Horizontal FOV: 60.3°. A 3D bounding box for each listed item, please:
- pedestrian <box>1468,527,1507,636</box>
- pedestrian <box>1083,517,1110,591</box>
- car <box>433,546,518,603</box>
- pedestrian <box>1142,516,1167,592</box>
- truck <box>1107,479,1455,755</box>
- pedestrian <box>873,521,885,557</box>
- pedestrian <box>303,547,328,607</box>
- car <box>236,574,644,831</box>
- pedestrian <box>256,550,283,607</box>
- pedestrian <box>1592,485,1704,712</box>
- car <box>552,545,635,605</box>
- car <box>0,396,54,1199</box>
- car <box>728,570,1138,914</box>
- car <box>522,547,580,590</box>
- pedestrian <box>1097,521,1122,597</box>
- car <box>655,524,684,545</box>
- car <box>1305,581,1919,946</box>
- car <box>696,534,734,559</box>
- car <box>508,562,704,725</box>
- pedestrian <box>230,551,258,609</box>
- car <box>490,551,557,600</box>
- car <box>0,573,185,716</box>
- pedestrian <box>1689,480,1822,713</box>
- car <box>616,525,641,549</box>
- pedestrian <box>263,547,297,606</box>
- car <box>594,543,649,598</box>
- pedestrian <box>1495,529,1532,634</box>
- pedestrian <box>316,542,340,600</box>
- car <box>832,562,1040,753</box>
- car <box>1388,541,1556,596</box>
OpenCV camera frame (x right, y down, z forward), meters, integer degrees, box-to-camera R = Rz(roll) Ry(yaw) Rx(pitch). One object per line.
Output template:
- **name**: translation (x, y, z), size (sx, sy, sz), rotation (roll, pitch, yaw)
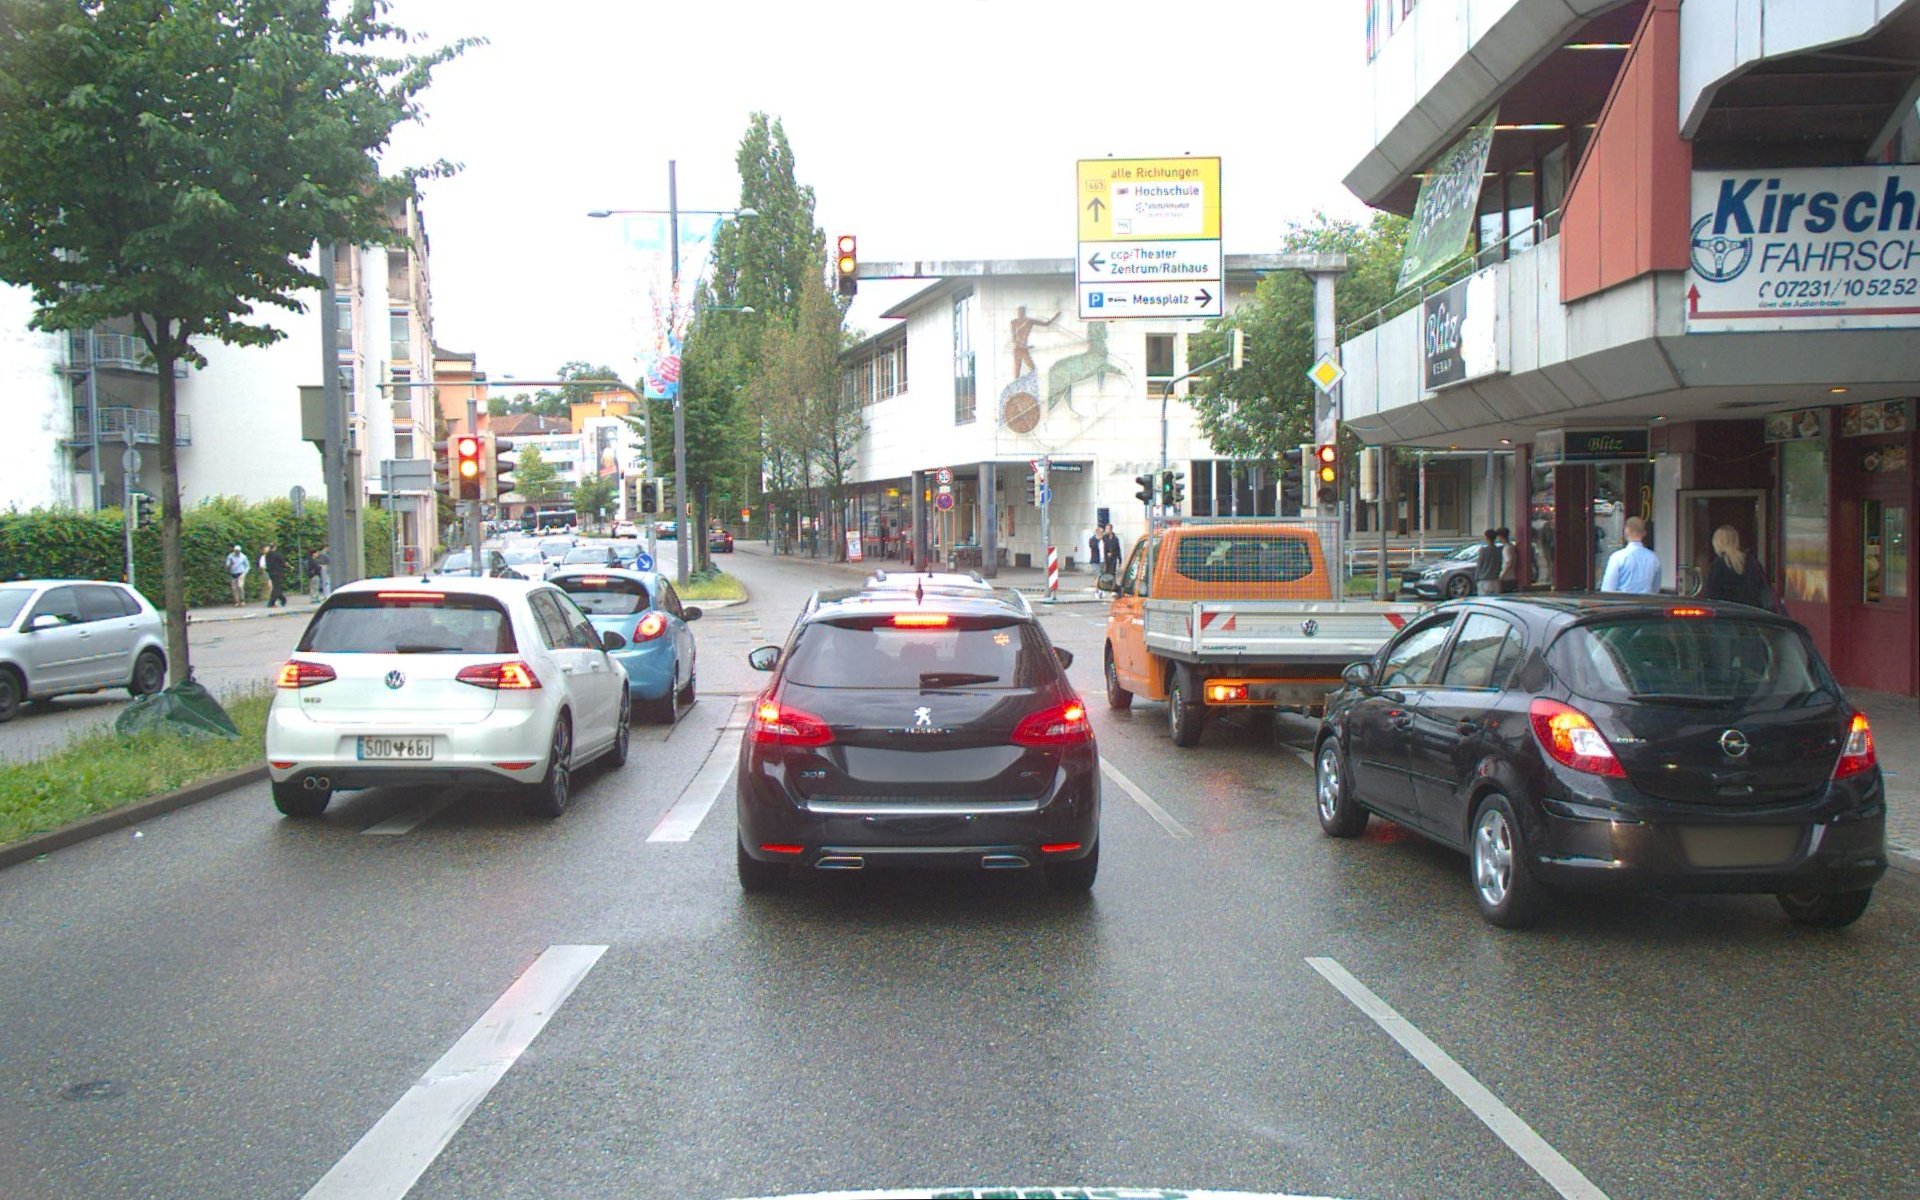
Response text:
- **pedestrian**: translation (8.406, -0.295, 26.347), size (0.417, 1.712, 0.450), rotation (-1, -1, -2)
- **pedestrian**: translation (3.380, -1.124, 40.915), size (0.623, 1.788, 0.734), rotation (1, -1, 6)
- **car**: translation (-13.673, -0.743, 46.837), size (1.543, 1.512, 3.607), rotation (1, 1, -4)
- **pedestrian**: translation (5.006, -1.172, 42.557), size (0.623, 1.930, 0.734), rotation (1, -1, 6)
- **truck**: translation (2.832, 0.076, 15.919), size (2.133, 2.210, 5.018), rotation (1, 1, -3)
- **pedestrian**: translation (-4.045, -3.051, 82.712), size (0.461, 1.778, 0.537), rotation (1, -1, -21)
- **pedestrian**: translation (-19.366, -0.682, 49.729), size (0.529, 1.778, 0.746), rotation (1, -1, -9)
- **car**: translation (-3.341, 0.561, 11.394), size (1.742, 1.454, 3.840), rotation (1, 1, -3)
- **pedestrian**: translation (-20.086, -0.628, 48.117), size (0.569, 1.627, 0.526), rotation (1, -1, -7)
- **pedestrian**: translation (6.107, -0.012, 14.708), size (0.721, 1.968, 0.640), rotation (1, -1, -1)
- **car**: translation (-10.528, -0.679, 47.762), size (1.710, 1.607, 3.996), rotation (1, -1, -4)
- **car**: translation (-3.053, 0.445, 1.404), size (1.873, 1.903, 5.071), rotation (1, -1, -2)
- **car**: translation (-0.122, 0.577, 9.007), size (1.741, 1.454, 3.842), rotation (1, 1, 0)
- **car**: translation (-15.043, -1.183, 60.954), size (1.602, 1.512, 3.605), rotation (1, 2, -7)
- **pedestrian**: translation (3.876, -1.056, 42.945), size (0.623, 1.930, 0.734), rotation (1, -1, 6)
- **car**: translation (-24.347, -5.478, 138.529), size (1.699, 1.516, 4.706), rotation (1, -1, -19)
- **car**: translation (3.114, 0.648, 8.663), size (1.584, 1.454, 3.839), rotation (1, 1, -4)
- **car**: translation (-15.650, -3.422, 105.508), size (1.759, 1.479, 4.486), rotation (-3, 3, -17)
- **car**: translation (-3.618, 0.374, 17.428), size (1.601, 1.512, 3.606), rotation (1, 2, -6)
- **pedestrian**: translation (-20.455, -0.561, 47.259), size (0.569, 1.627, 0.526), rotation (1, -1, -7)
- **car**: translation (-14.183, -0.812, 53.880), size (1.602, 1.512, 3.605), rotation (1, 2, -7)
- **car**: translation (-10.613, 0.521, 18.470), size (1.598, 1.494, 3.756), rotation (-4, -1, 11)
- **pedestrian**: translation (7.030, -0.029, 14.647), size (0.721, 1.968, 0.640), rotation (-4, -1, -1)
- **car**: translation (-29.212, -5.525, 145.577), size (1.679, 1.915, 3.980), rotation (1, -1, -18)
- **pedestrian**: translation (-19.500, -0.678, 47.409), size (0.624, 1.671, 0.734), rotation (1, -1, 2)
- **car**: translation (-11.132, -0.930, 54.525), size (1.713, 1.669, 3.989), rotation (1, -1, -11)
- **pedestrian**: translation (8.946, -0.292, 26.740), size (0.388, 1.668, 0.504), rotation (-1, -1, 0)
- **pedestrian**: translation (-19.623, -0.891, 51.349), size (0.528, 1.778, 0.564), rotation (1, -1, -6)
- **car**: translation (-0.229, 0.421, 15.241), size (1.662, 1.512, 3.793), rotation (1, 1, -1)
- **car**: translation (12.498, -0.763, 40.560), size (3.610, 1.233, 1.836), rotation (1, -1, 3)
